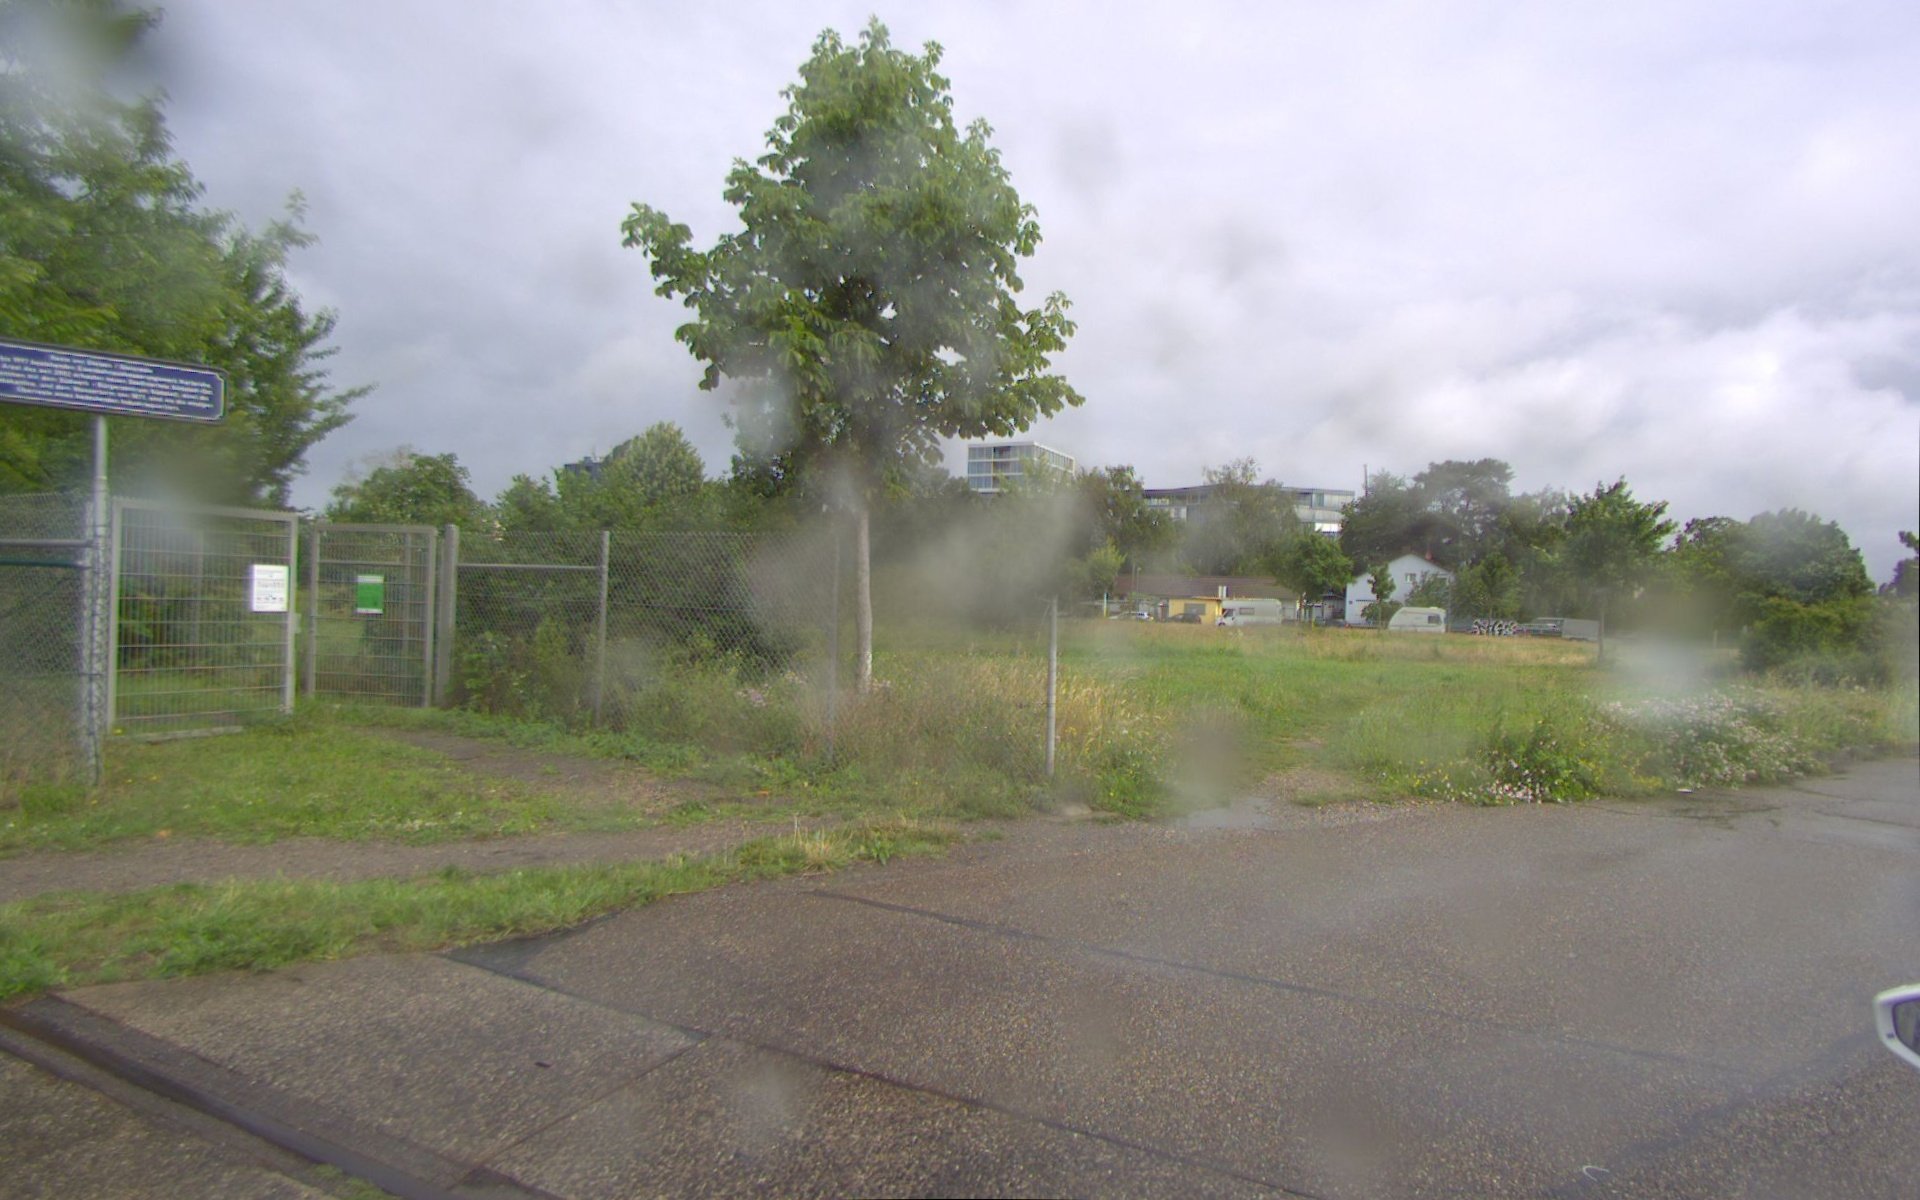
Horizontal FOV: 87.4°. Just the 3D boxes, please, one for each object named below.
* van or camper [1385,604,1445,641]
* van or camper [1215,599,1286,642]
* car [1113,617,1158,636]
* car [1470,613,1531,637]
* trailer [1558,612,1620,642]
[{"bbox_3d":[39.227,1.893,86.624,4.435,2.985,2.479,2,0,30],"label":"van or camper"},{"bbox_3d":[26.944,1.857,93.244,5.747,3.794,2.649,2,0,31],"label":"van or camper"},{"bbox_3d":[17.266,2.585,98.795,3.928,1.726,1.878,2,0,30],"label":"car"},{"bbox_3d":[45.056,2.041,83.741,4.439,1.799,1.996,2,0,31],"label":"car"},{"bbox_3d":[50.715,2.144,81.107,4.038,2.117,1.842,3,1,28],"label":"trailer"}]
